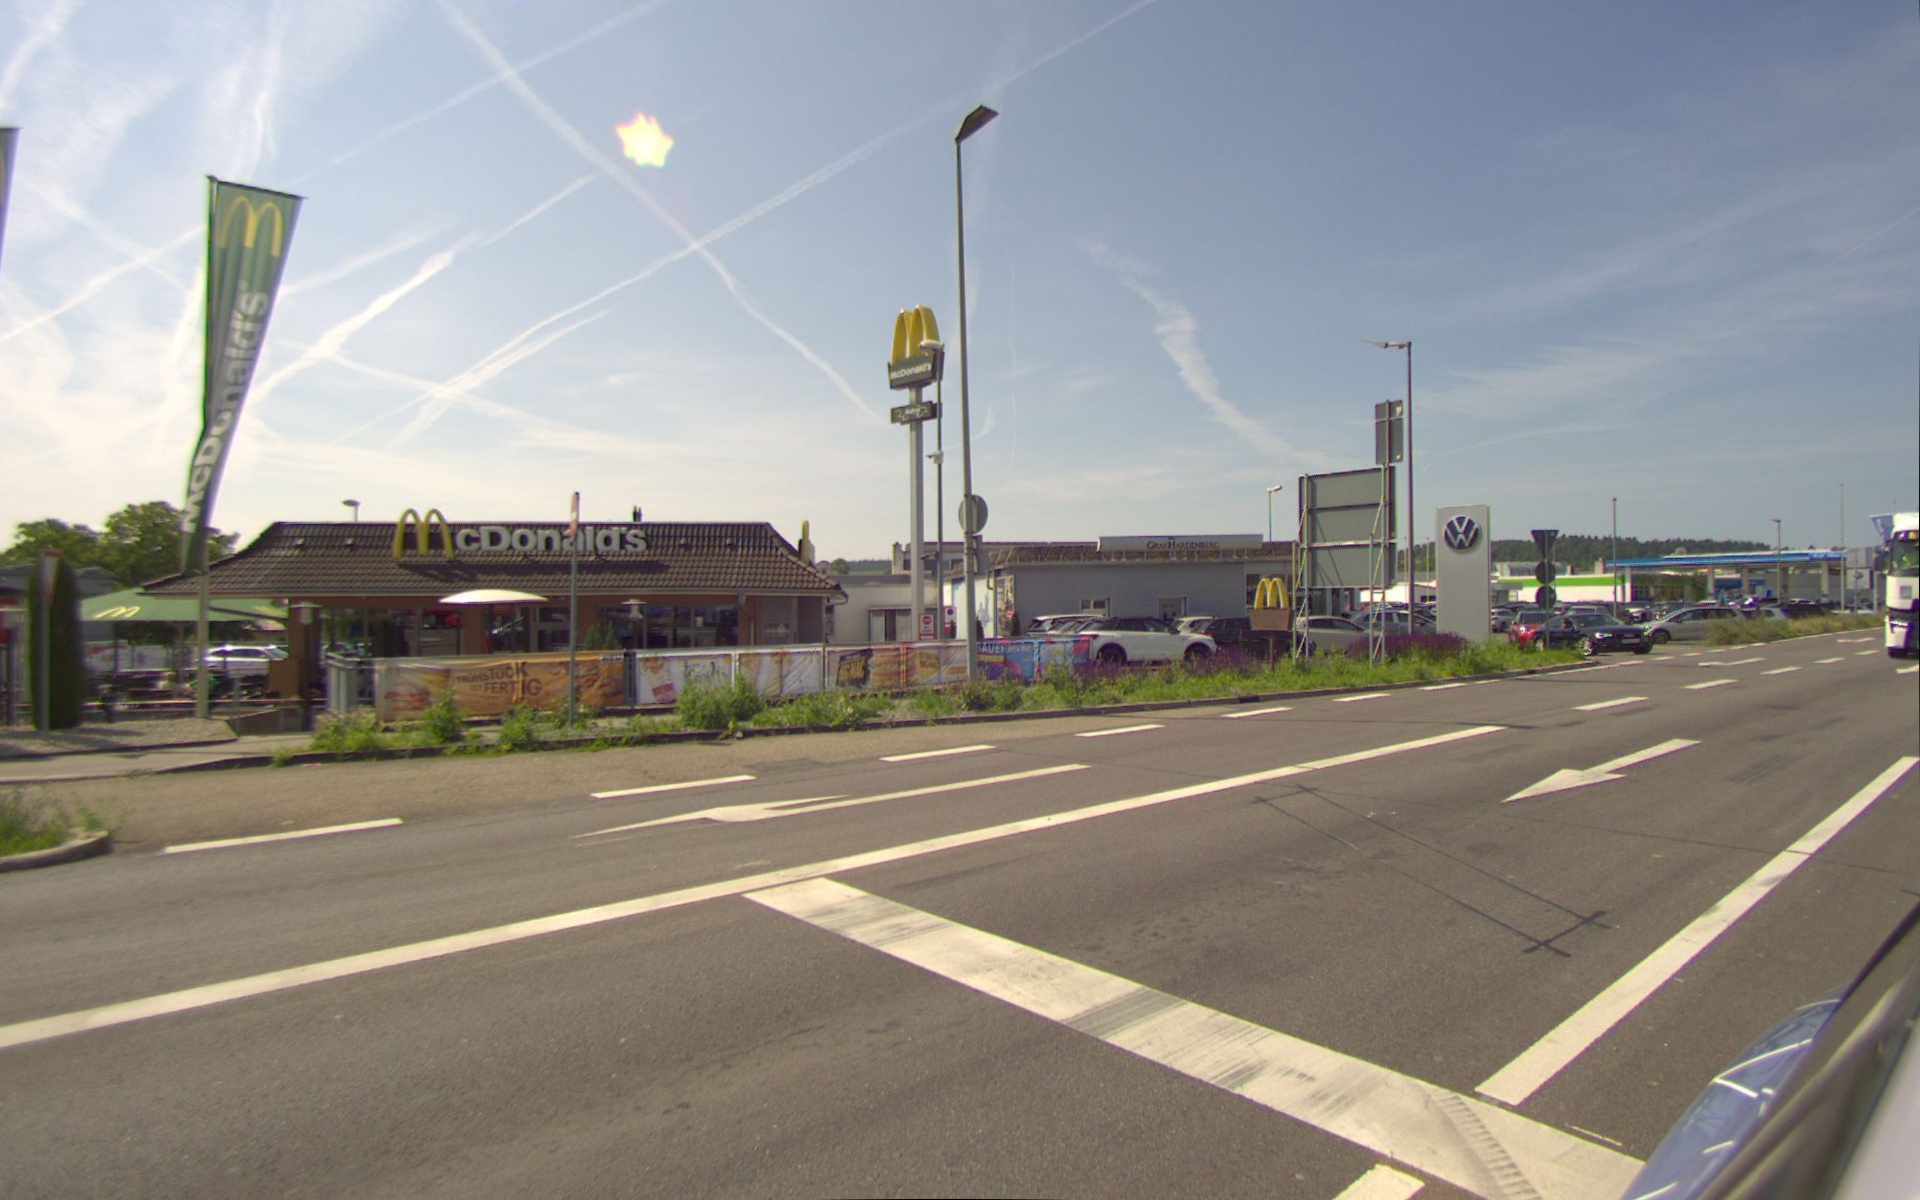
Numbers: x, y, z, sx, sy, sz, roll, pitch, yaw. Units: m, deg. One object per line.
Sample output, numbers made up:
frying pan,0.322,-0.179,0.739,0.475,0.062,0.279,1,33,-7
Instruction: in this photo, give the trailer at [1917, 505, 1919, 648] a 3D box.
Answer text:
trailer,33.720,-0.717,32.879,11.092,4.281,2.612,0,0,-40

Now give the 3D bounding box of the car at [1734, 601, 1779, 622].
car,64.440,0.897,81.898,4.069,1.600,1.776,0,1,-35

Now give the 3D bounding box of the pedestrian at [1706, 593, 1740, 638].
pedestrian,33.450,0.652,44.379,0.975,1.936,0.740,0,0,16

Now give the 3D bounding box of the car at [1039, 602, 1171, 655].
car,4.846,0.937,34.155,4.087,1.692,1.778,0,0,-4

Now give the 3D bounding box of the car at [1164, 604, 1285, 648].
car,9.661,0.925,37.106,3.881,1.537,1.778,0,0,-4

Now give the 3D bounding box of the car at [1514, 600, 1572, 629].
car,35.839,0.861,62.122,4.463,1.675,1.965,0,1,-44

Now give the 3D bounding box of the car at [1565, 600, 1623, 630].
car,37.728,0.874,60.209,4.632,1.675,1.904,0,1,-44

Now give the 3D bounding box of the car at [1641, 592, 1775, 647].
car,32.061,0.796,43.511,4.295,2.240,1.752,1,0,21

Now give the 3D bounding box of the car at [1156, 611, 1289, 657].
car,9.008,1.158,34.911,4.072,1.468,1.798,0,0,-4

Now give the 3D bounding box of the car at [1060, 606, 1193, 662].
car,5.240,1.070,32.181,3.832,1.692,1.778,0,0,-4

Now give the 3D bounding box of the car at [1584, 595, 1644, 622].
car,41.556,0.512,64.289,4.454,1.675,1.775,0,1,-37

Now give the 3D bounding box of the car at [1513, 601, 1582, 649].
car,22.145,0.915,38.272,1.756,1.675,4.044,-2,0,24

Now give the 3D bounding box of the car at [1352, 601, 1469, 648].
car,17.319,0.926,39.084,3.974,1.692,1.765,1,0,20

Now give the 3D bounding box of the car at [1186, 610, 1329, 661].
car,9.538,1.125,32.628,4.008,1.551,1.778,0,0,-4

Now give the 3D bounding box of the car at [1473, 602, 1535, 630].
car,35.231,0.996,65.518,4.452,1.675,1.776,0,1,-36

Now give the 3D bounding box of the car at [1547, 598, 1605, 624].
car,40.305,0.696,66.218,4.351,1.675,1.775,0,1,-37

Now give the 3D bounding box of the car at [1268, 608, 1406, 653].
car,13.174,1.048,35.478,4.179,1.510,1.751,0,0,-4

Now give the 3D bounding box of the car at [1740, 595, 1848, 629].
car,43.359,0.617,52.701,3.946,1.675,1.766,0,0,18

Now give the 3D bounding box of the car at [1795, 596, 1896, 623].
car,56.615,0.582,64.823,4.488,1.675,1.762,1,0,24

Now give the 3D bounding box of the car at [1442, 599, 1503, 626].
car,34.614,0.834,68.310,4.452,1.751,1.823,0,1,-35

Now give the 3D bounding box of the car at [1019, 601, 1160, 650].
car,4.610,0.907,36.438,4.722,1.692,1.914,0,0,-4

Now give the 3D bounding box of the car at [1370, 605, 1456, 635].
car,25.278,1.096,56.569,4.008,1.629,1.690,0,-1,8

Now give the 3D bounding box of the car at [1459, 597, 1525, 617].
car,39.436,0.519,75.005,4.390,1.449,1.827,0,0,-19

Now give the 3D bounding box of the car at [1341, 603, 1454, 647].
car,17.818,0.980,41.380,3.940,1.692,1.913,0,0,13

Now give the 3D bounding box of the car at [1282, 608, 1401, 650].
car,14.178,1.079,37.736,3.720,1.495,1.752,0,0,-4

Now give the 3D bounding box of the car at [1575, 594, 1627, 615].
car,51.739,0.350,81.659,4.448,1.675,1.777,0,1,-32

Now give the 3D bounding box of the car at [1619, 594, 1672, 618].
car,50.229,0.436,74.091,4.452,1.675,1.776,0,1,-35

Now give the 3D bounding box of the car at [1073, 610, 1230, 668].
car,5.524,1.118,29.516,4.149,1.596,1.863,0,0,-4

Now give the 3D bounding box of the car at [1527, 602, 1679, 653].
car,20.234,0.922,32.146,1.931,1.350,4.808,-4,-3,4

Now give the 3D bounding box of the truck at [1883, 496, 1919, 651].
truck,27.636,-0.686,27.728,5.933,4.037,2.646,0,0,-39

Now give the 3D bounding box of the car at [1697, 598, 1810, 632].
car,38.613,0.700,49.352,3.953,1.578,1.700,1,0,22
